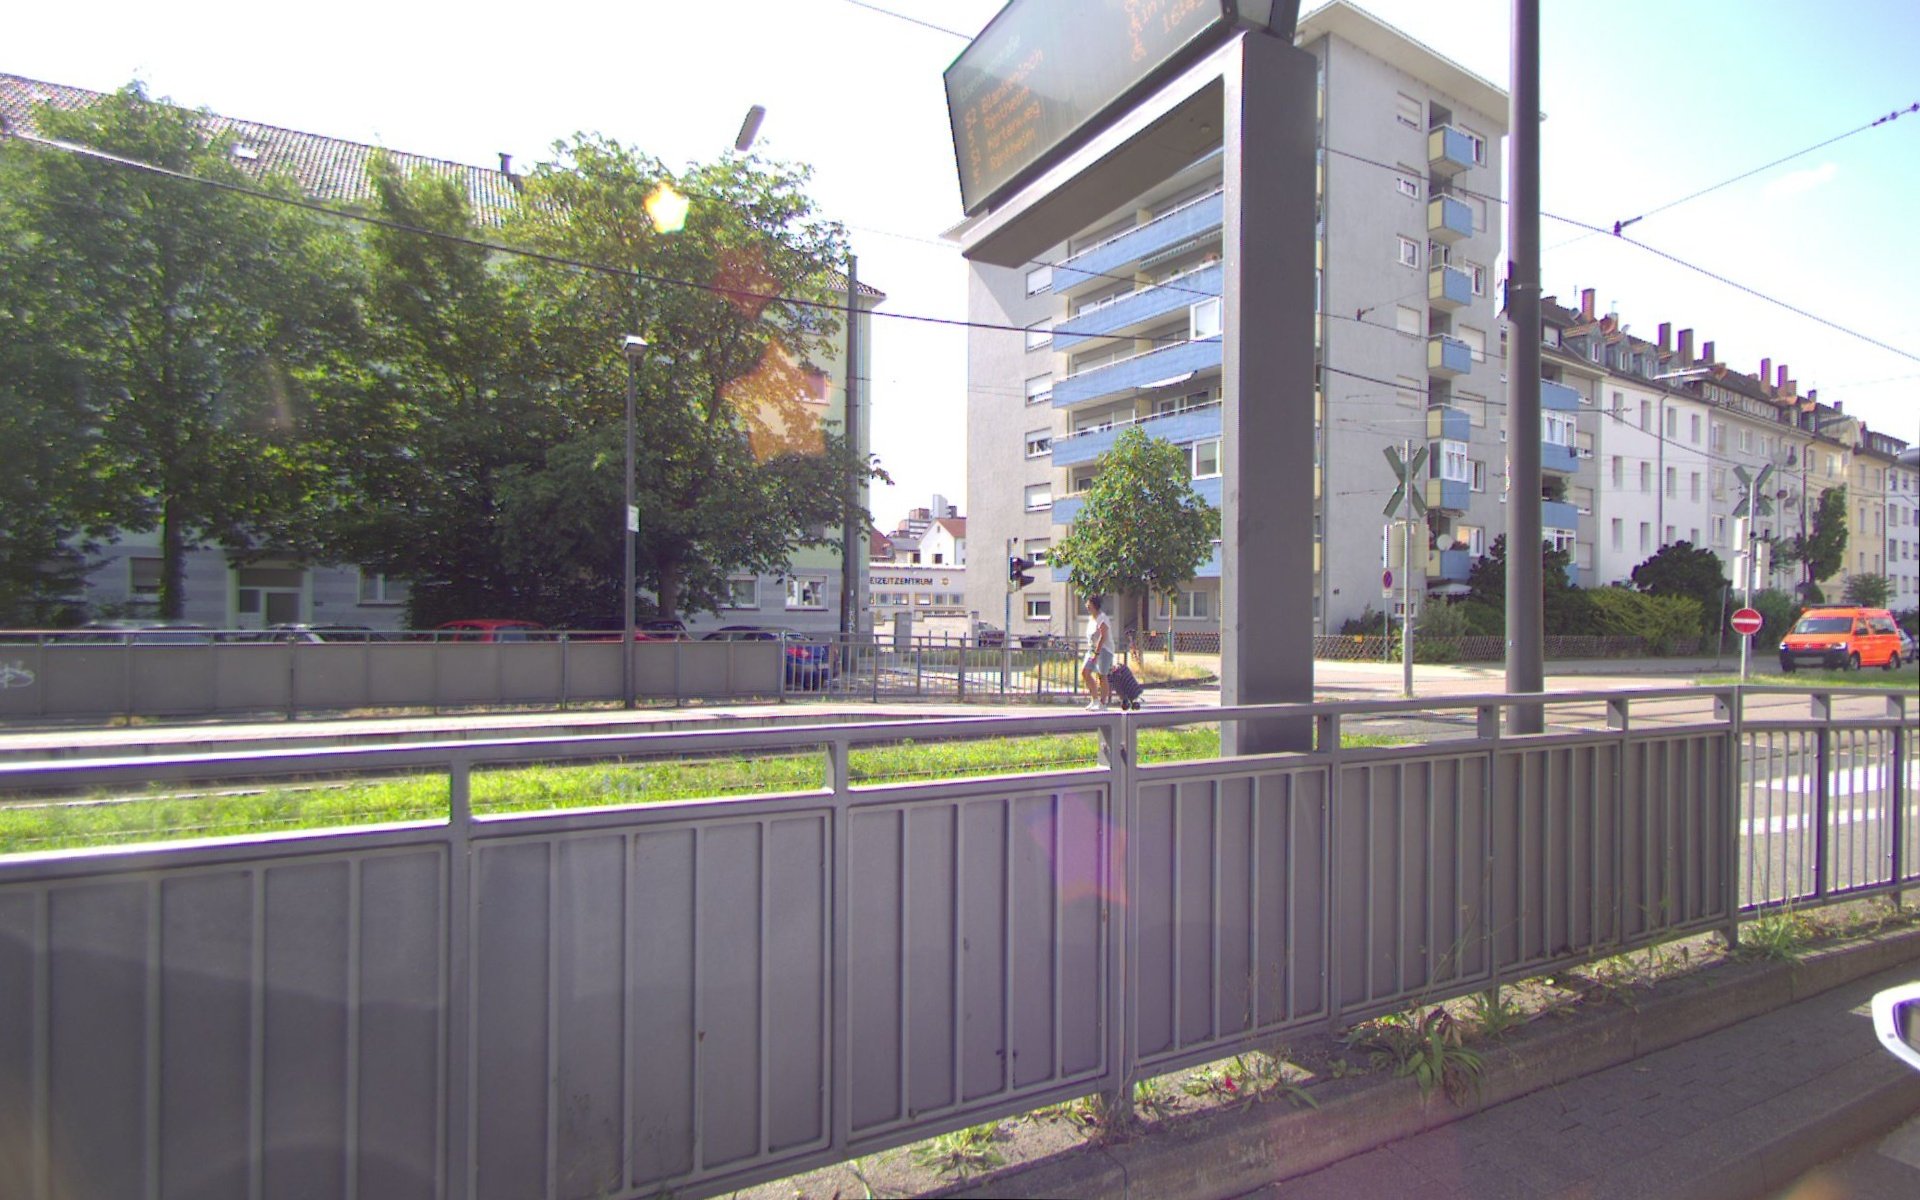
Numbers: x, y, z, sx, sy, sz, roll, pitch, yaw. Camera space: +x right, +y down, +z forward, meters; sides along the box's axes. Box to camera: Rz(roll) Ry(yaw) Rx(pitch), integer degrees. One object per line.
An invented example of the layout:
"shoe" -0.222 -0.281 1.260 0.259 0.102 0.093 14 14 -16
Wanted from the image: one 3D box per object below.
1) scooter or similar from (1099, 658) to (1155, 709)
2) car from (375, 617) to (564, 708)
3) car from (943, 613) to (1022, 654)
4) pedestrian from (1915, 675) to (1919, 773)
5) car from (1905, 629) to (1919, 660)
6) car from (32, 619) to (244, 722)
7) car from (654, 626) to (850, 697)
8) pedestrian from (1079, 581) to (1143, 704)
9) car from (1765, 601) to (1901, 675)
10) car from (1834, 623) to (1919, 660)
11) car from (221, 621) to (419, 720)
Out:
"scooter or similar" 2.438 1.209 14.661 0.692 0.708 0.440 1 -1 -29
"car" -9.572 1.145 19.568 3.603 1.600 1.645 0 -1 32
"car" 1.040 1.572 47.799 1.976 1.706 3.968 2 0 -30
"pedestrian" 9.433 0.799 9.276 0.630 1.670 0.701 1 1 -32
"car" 47.807 2.195 48.928 3.958 1.461 1.757 2 0 -34
"car" -13.793 1.089 16.798 3.959 1.534 1.605 0 -1 33
"car" -4.576 1.298 22.058 4.055 1.413 1.608 0 -1 24
"pedestrian" 2.140 0.594 14.249 0.624 1.686 0.657 1 -1 -29
"car" 29.188 1.250 33.557 4.776 2.305 1.984 1 -1 -30
"car" 39.637 1.783 43.371 3.956 1.461 1.758 2 0 -32
"car" -11.647 1.194 18.243 3.603 1.600 1.645 0 -1 32
